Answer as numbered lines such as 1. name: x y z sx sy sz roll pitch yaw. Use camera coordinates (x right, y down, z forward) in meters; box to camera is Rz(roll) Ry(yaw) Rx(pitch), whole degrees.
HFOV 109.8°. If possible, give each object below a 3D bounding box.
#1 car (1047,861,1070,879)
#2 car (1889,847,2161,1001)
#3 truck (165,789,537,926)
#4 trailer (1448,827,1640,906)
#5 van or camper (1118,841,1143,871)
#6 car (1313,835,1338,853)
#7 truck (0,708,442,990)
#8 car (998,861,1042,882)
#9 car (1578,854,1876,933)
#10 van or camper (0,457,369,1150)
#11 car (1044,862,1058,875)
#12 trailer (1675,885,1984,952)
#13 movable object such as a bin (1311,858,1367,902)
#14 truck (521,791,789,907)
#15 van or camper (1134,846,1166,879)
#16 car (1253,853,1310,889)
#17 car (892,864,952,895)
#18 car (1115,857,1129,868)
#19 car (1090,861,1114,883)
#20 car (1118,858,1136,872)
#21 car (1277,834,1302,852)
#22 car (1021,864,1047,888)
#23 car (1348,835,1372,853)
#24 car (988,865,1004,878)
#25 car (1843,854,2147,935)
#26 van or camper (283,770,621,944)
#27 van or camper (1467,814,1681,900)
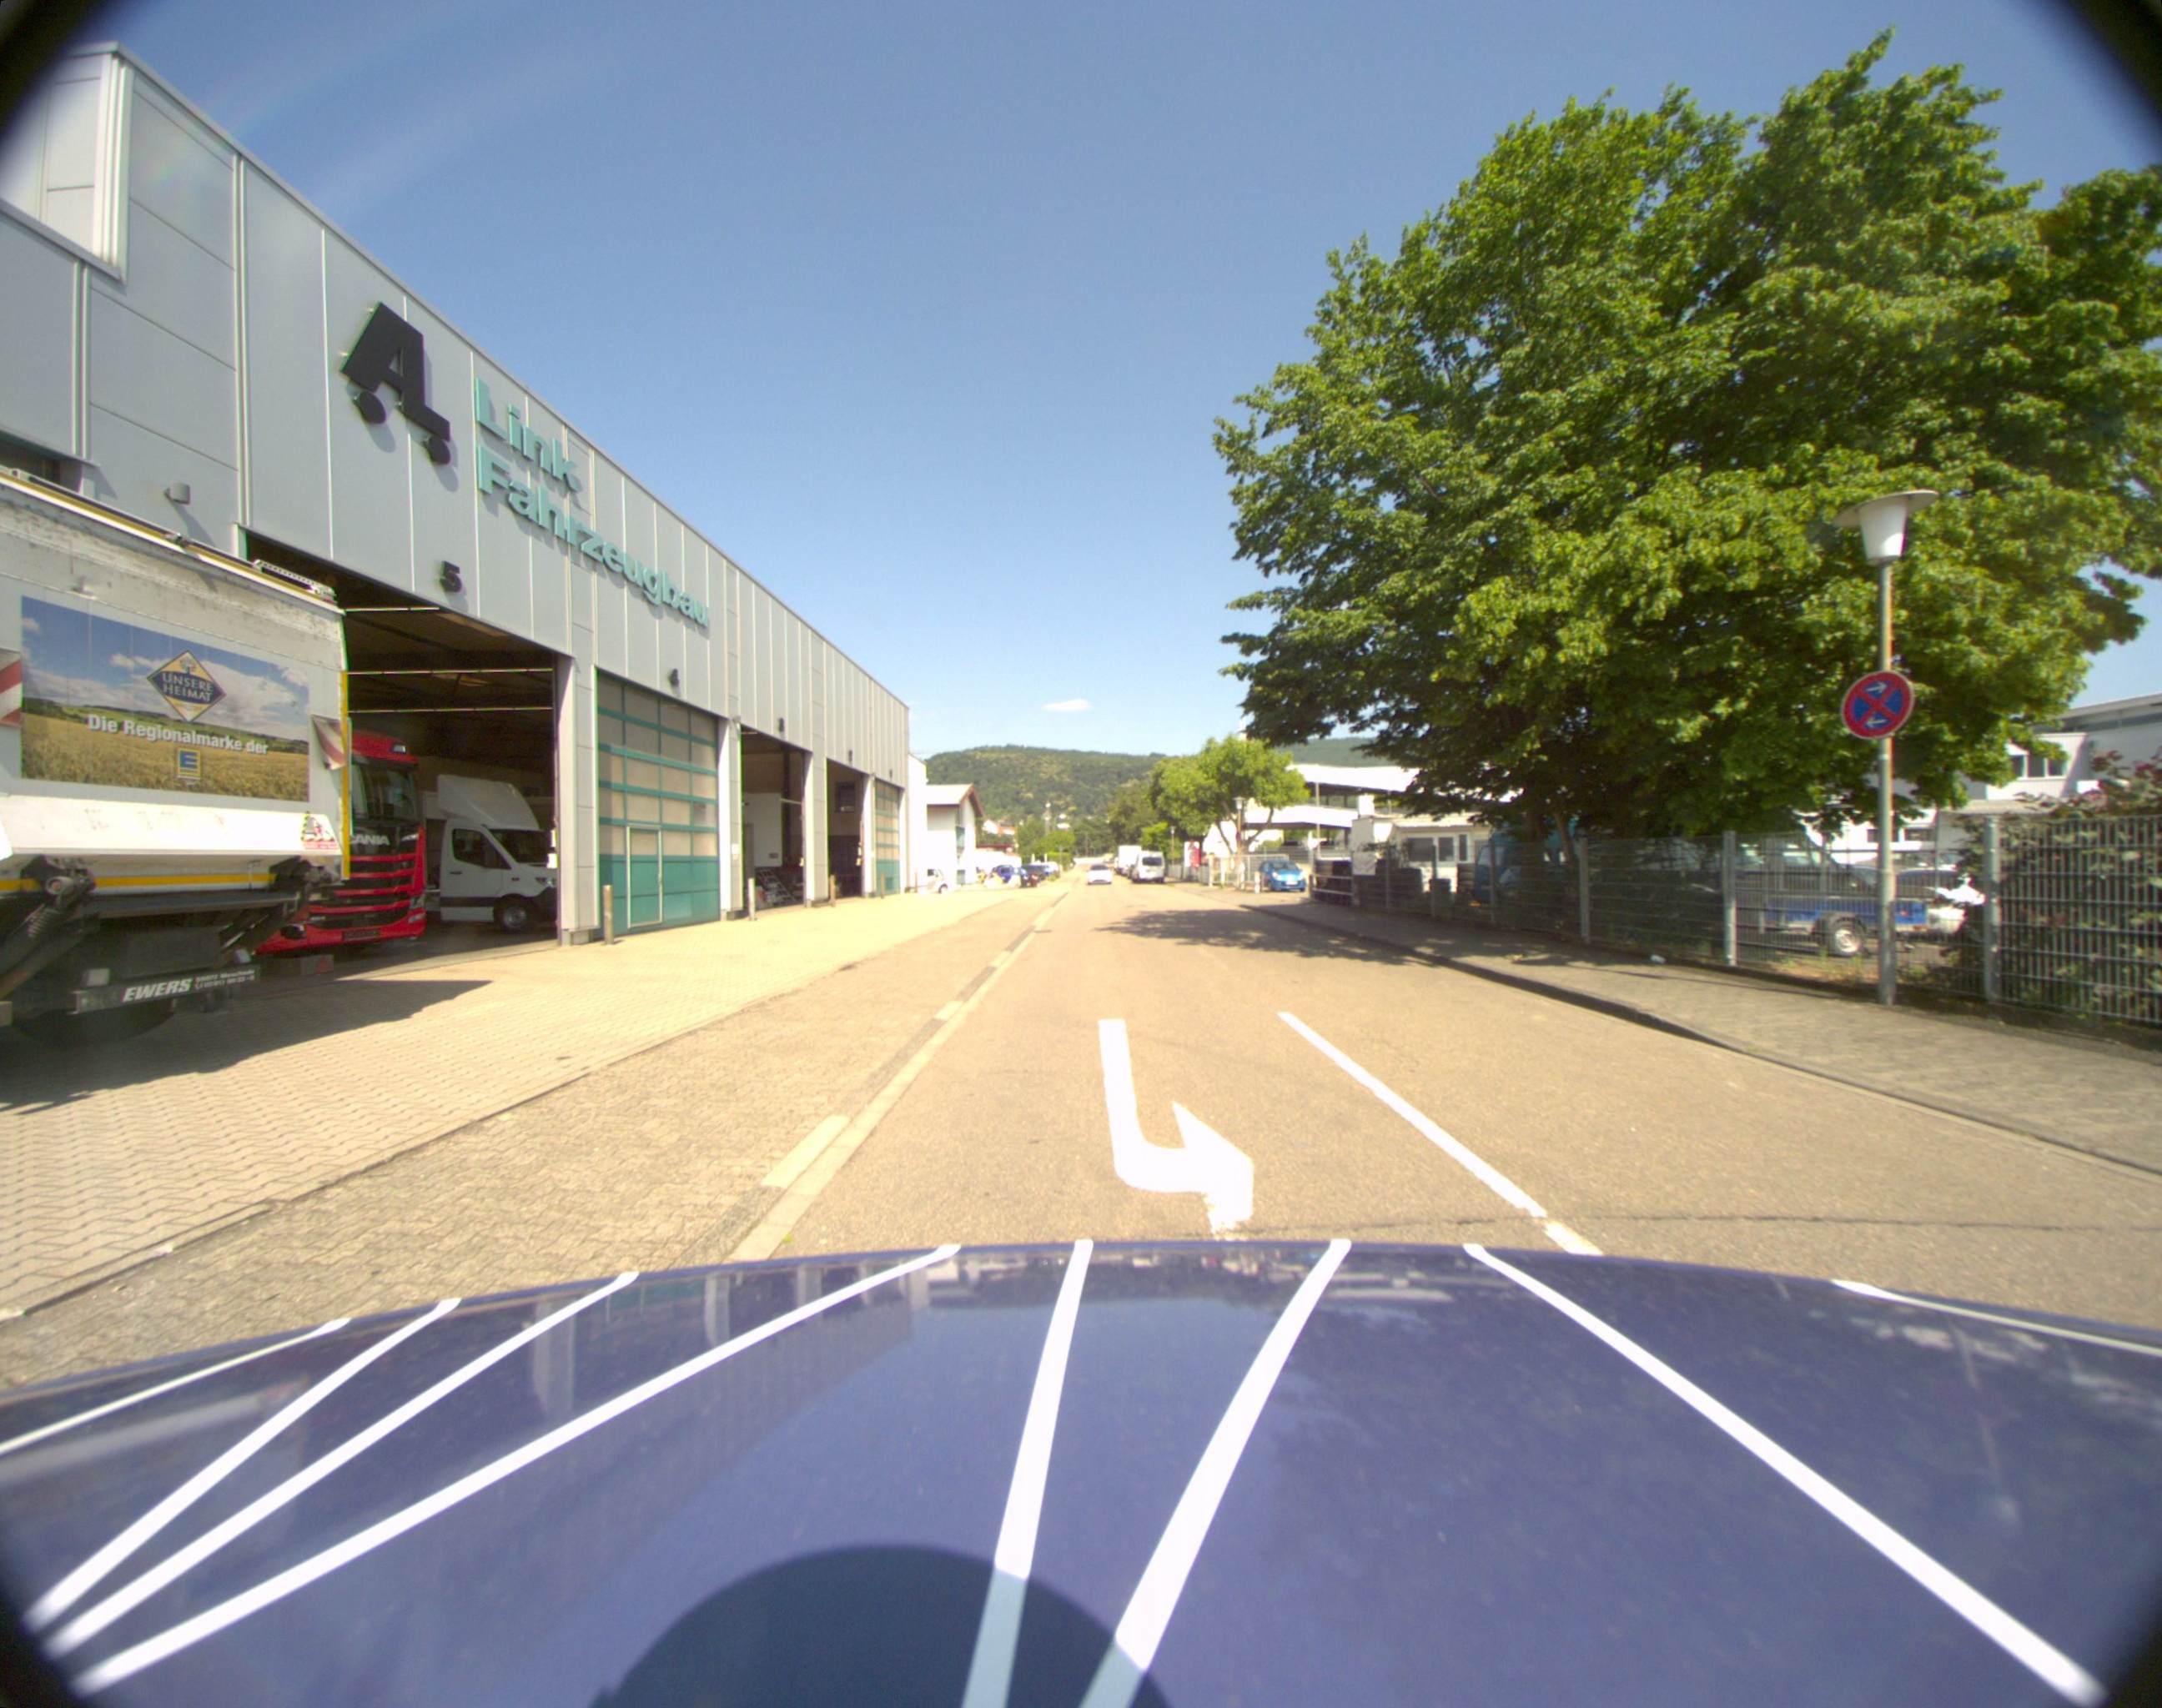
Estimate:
1. car: -2.000 1.368 66.105 1.453 1.487 3.184 -3 0 -10
2. car: 11.016 0.666 7.970 3.386 1.476 1.518 0 0 3
3. truck: -19.801 0.111 20.965 7.571 3.438 2.769 -1 0 1
4. trailer: 14.616 0.364 24.182 4.781 2.143 2.000 -3 1 2
5. van or camper: 5.615 0.227 87.545 2.525 3.350 5.591 0 0 0
6. car: 21.453 -0.924 66.666 1.705 1.449 3.530 -3 0 22
7. truck: -13.861 -0.015 10.548 7.969 3.384 2.480 -1 0 2
8. car: -4.454 1.278 55.910 2.975 1.332 1.453 -3 1 2
9. car: 11.903 0.704 14.256 3.924 1.378 1.860 0 0 5
10. van or camper: -11.601 -0.224 4.341 11.635 3.671 2.780 0 0 -6
11. car: -3.439 1.614 86.966 1.452 1.371 3.186 -3 0 -2
12. trailer: 11.772 0.998 12.131 3.289 0.934 1.613 0 0 3
13. movable object such as a bin: 9.018 0.886 26.636 1.383 1.350 2.104 -3 1 6
14. truck: -14.646 -0.140 26.495 7.854 3.759 2.625 -1 0 2
15. van or camper: 5.143 0.624 57.077 2.028 2.363 4.685 0 0 0
16. car: 9.233 0.747 35.216 1.644 1.449 3.525 -3 0 0
17. car: -8.416 1.335 40.382 1.309 1.524 2.829 -3 -2 44
18. car: 5.926 1.220 111.125 1.708 1.564 3.524 -3 0 -2
19. car: 1.548 1.300 56.949 1.736 1.521 4.109 0 0 1
20. car: 4.893 1.161 81.542 1.708 1.449 3.525 0 0 1
21. car: 18.532 -0.959 67.332 1.705 1.449 3.531 0 0 22
22. car: -2.862 1.322 46.781 1.452 1.371 3.186 -1 0 -2
23. car: 24.494 -0.917 66.632 1.705 1.449 3.530 -3 0 22
24. car: -9.752 1.998 87.504 1.452 1.371 3.186 -3 0 -2
25. car: 16.967 0.717 14.243 3.634 1.370 1.732 -1 0 -1
26. van or camper: -12.582 0.050 15.486 5.055 3.187 2.000 -2 1 -1
27. van or camper: 12.419 0.070 19.343 4.192 1.853 1.774 -3 1 3
